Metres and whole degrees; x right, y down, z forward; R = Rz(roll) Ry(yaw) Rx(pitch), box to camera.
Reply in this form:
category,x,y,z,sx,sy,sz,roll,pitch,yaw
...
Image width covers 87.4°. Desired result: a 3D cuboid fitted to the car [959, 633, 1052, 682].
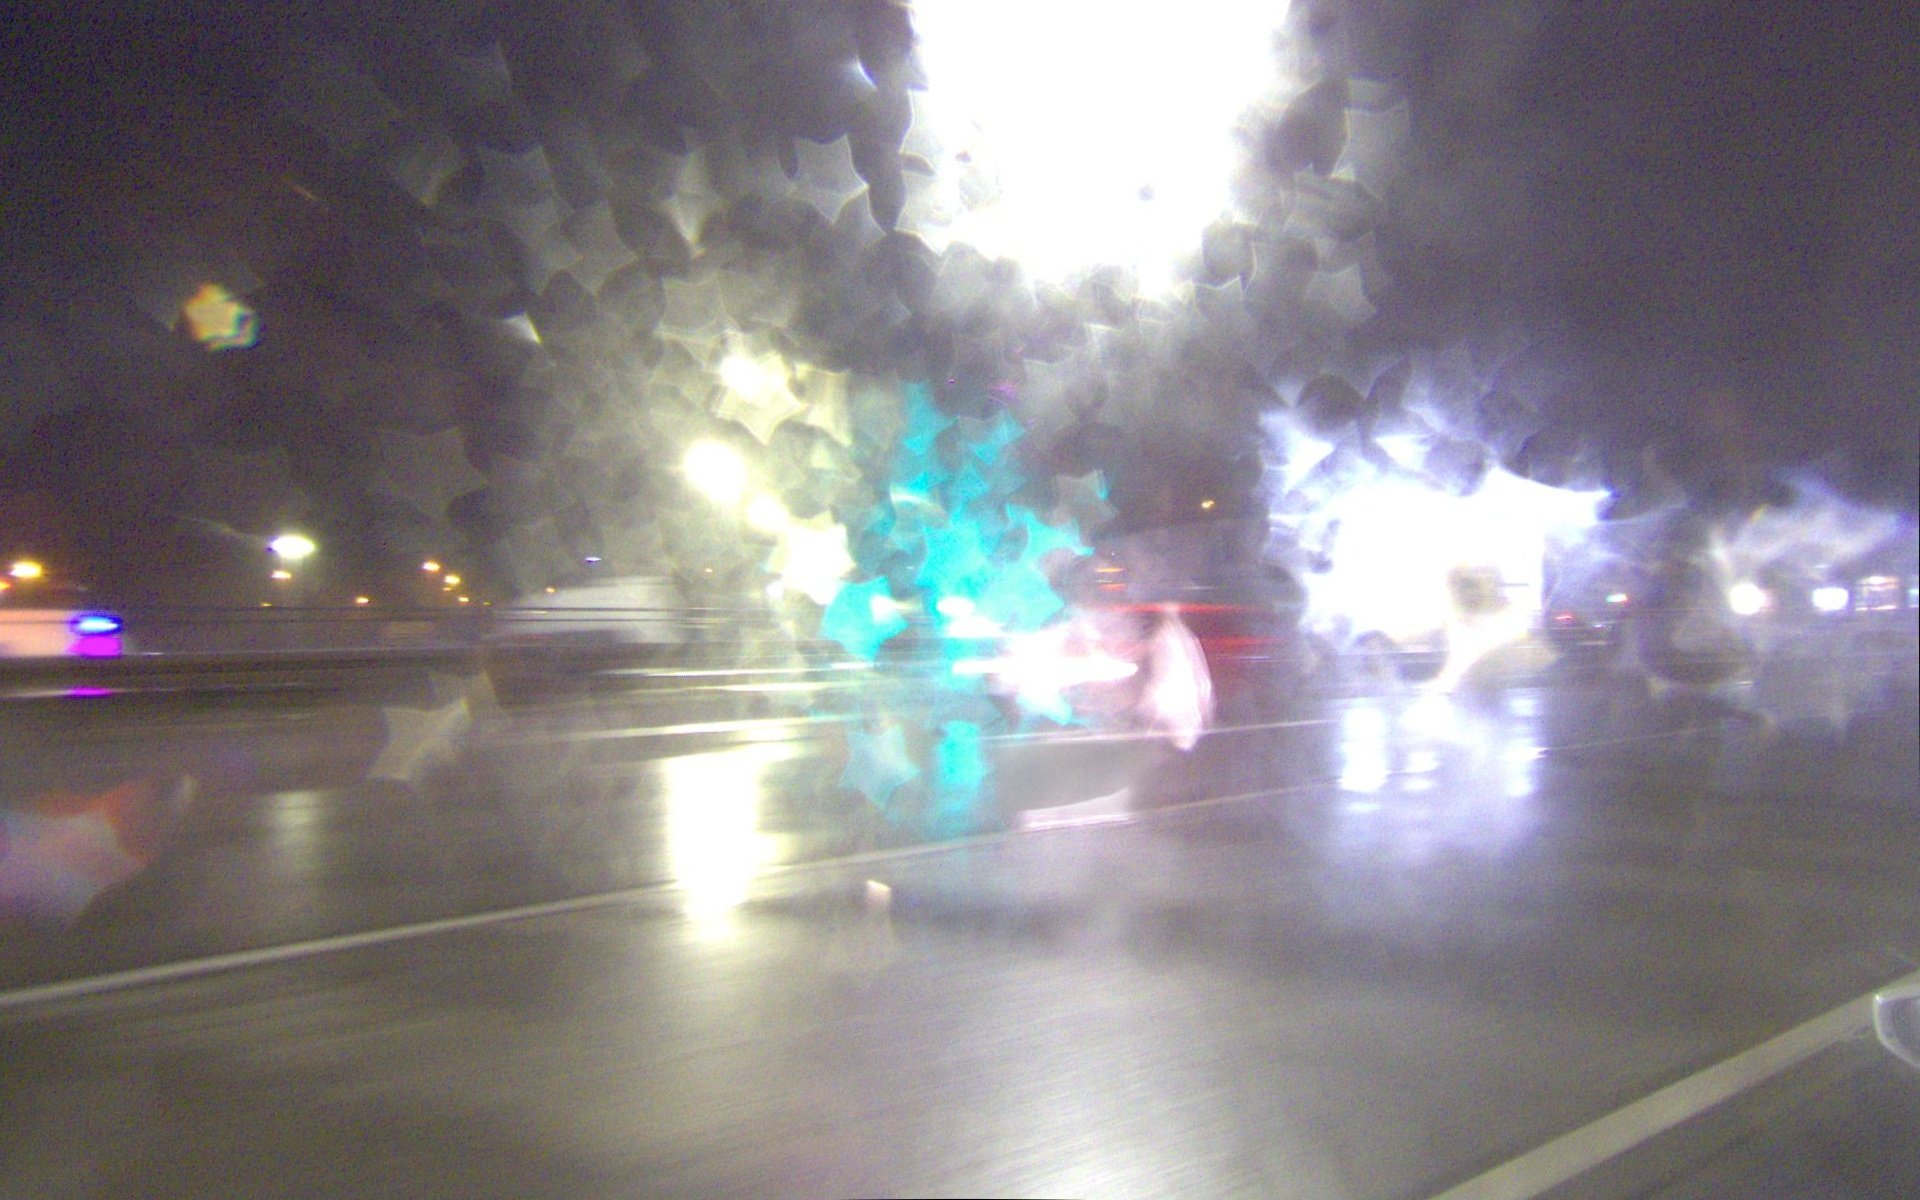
category,x,y,z,sx,sy,sz,roll,pitch,yaw
car,1.689,2.235,39.221,1.776,1.746,4.403,0,-3,-25

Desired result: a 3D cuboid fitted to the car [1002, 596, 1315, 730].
category,x,y,z,sx,sy,sz,roll,pitch,yaw
car,2.651,0.736,13.139,3.911,1.476,1.754,1,1,-34
